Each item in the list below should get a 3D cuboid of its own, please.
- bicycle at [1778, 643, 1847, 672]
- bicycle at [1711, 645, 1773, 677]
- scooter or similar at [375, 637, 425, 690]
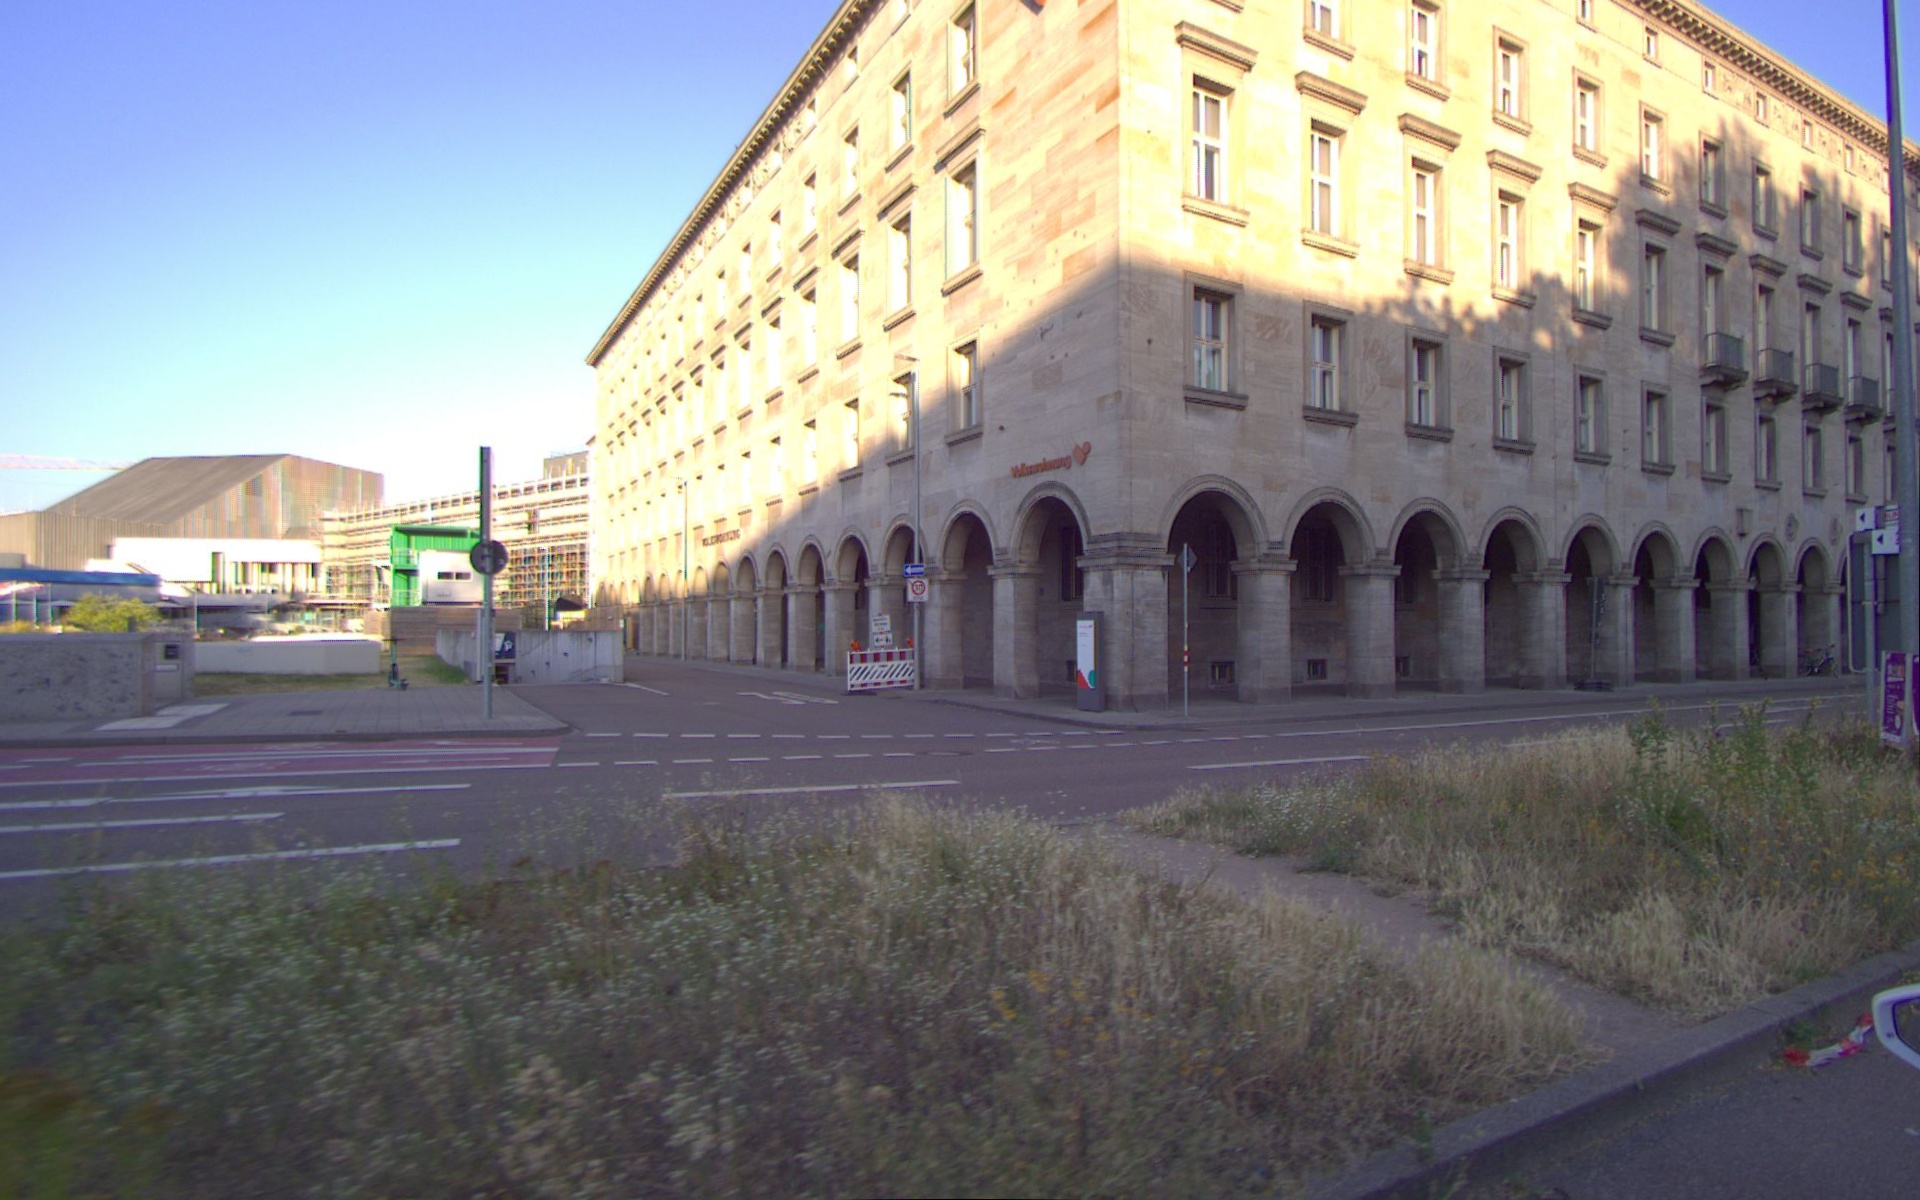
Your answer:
[{"bbox_3d":[30.629,2.073,36.099,1.964,1.019,0.479,0,-1,6],"label":"bicycle"},{"bbox_3d":[26.255,2.038,33.721,1.970,1.019,0.478,0,-1,-12],"label":"bicycle"},{"bbox_3d":[-13.448,1.501,24.099,1.544,1.240,0.544,-1,-2,42],"label":"scooter or similar"}]
